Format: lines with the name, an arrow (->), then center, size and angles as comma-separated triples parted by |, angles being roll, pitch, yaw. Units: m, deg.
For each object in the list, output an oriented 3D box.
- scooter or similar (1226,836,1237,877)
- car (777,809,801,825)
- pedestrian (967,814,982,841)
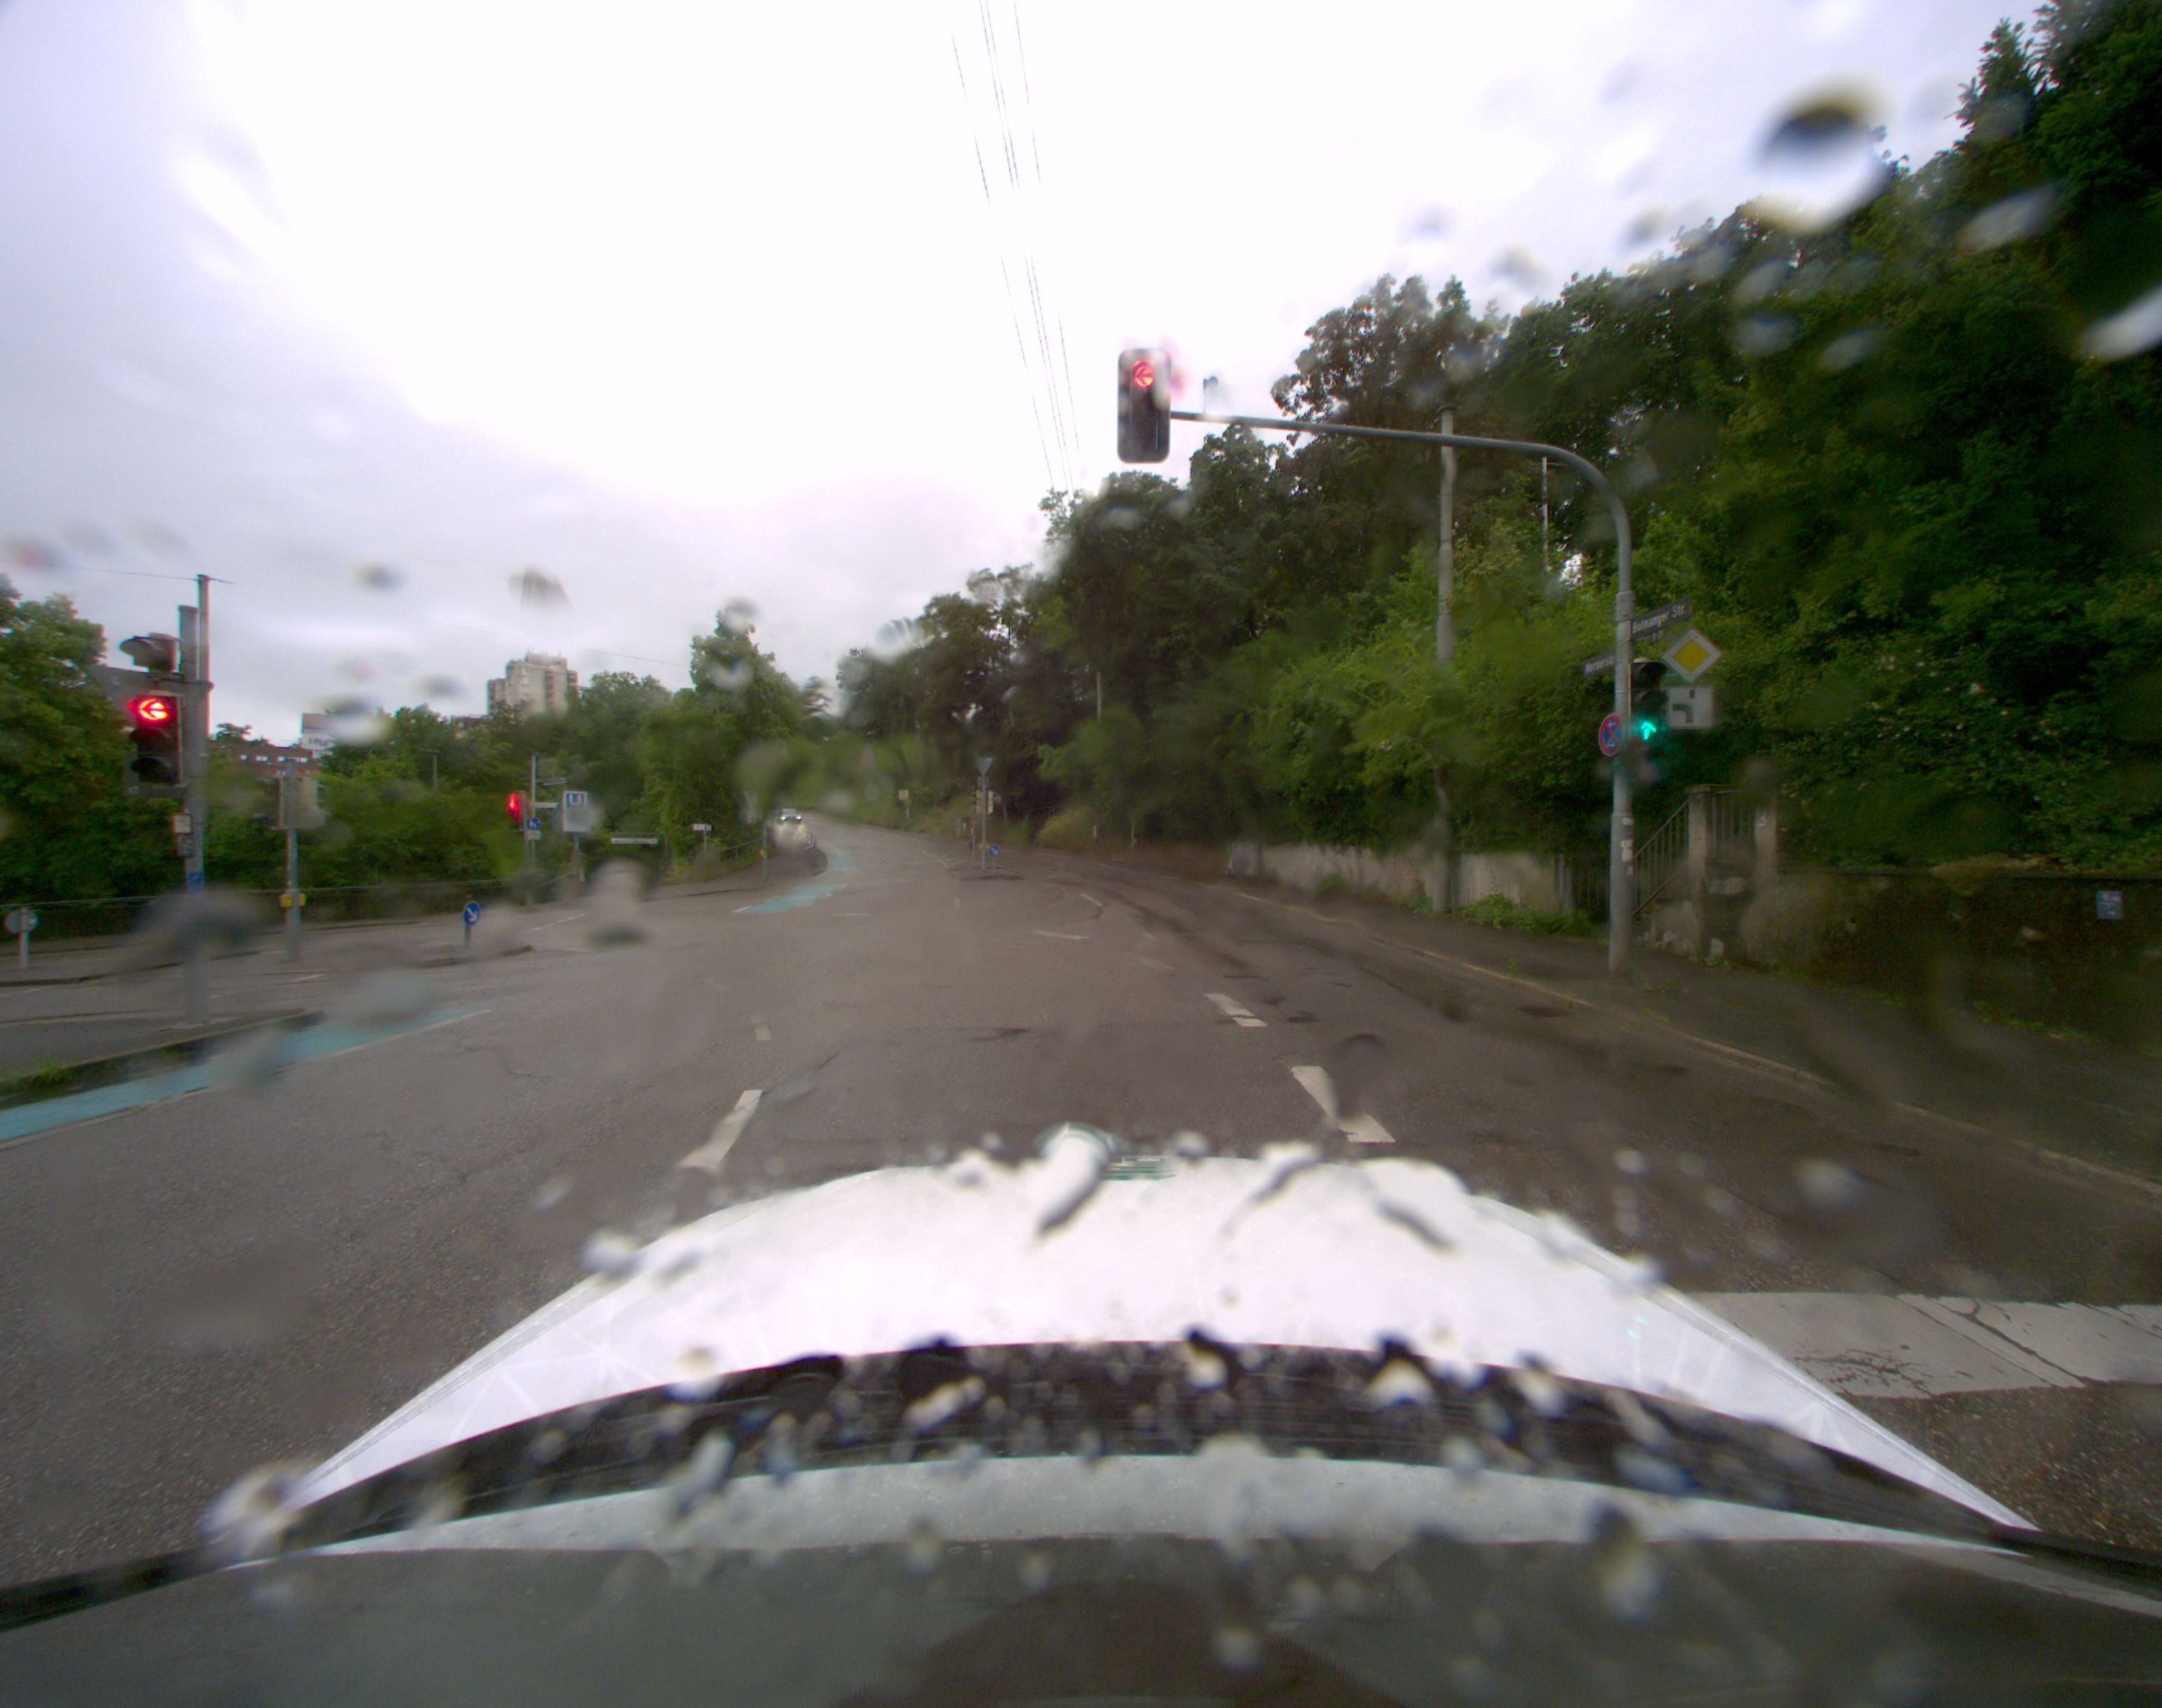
scooter or similar -> 4.905, 0.070, 26.508 | 0.320, 1.279, 0.754 | -1, 2, 10
car -> -28.352, -3.609, 79.047 | 1.964, 1.511, 4.372 | 0, 3, -22
pedestrian -> -7.031, -1.754, 53.721 | 0.882, 1.736, 0.861 | 0, -1, -15
